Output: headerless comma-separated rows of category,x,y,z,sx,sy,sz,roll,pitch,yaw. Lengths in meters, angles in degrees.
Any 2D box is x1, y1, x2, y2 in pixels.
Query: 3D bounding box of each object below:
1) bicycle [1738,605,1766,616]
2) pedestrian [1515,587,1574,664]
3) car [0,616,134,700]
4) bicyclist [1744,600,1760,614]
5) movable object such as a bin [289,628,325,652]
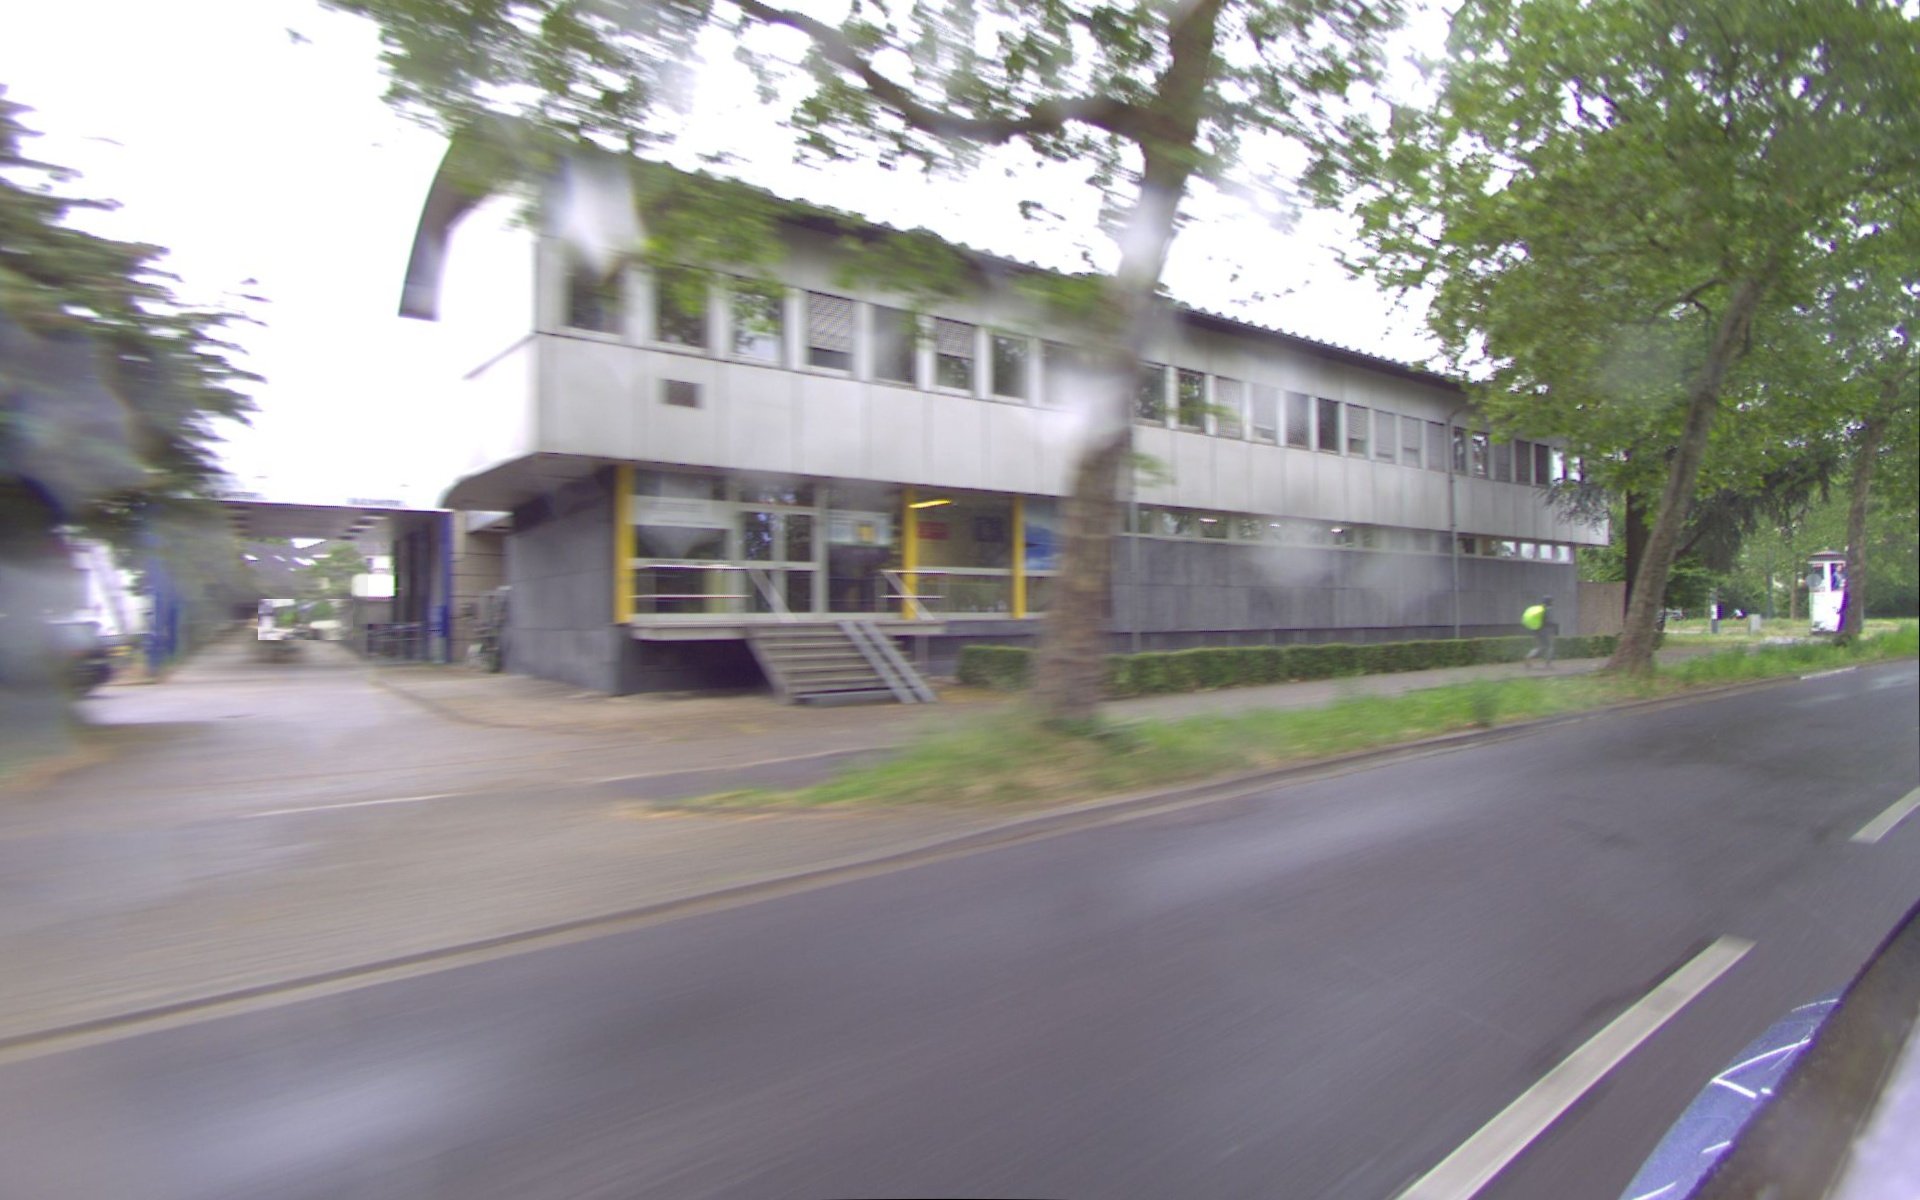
bicycle,66.960,0.895,85.563,0.669,0.896,1.868,-1,-1,-9
pedestrian,13.392,0.574,23.206,0.882,1.717,0.833,0,-1,-33
car,-18.832,1.097,19.506,4.066,1.549,1.897,0,-1,-15
bicyclist,66.950,0.564,85.529,0.669,1.159,0.745,-1,-1,-9
movable object such as a bin,-36.710,2.231,56.906,1.268,1.315,1.578,0,-1,-14
